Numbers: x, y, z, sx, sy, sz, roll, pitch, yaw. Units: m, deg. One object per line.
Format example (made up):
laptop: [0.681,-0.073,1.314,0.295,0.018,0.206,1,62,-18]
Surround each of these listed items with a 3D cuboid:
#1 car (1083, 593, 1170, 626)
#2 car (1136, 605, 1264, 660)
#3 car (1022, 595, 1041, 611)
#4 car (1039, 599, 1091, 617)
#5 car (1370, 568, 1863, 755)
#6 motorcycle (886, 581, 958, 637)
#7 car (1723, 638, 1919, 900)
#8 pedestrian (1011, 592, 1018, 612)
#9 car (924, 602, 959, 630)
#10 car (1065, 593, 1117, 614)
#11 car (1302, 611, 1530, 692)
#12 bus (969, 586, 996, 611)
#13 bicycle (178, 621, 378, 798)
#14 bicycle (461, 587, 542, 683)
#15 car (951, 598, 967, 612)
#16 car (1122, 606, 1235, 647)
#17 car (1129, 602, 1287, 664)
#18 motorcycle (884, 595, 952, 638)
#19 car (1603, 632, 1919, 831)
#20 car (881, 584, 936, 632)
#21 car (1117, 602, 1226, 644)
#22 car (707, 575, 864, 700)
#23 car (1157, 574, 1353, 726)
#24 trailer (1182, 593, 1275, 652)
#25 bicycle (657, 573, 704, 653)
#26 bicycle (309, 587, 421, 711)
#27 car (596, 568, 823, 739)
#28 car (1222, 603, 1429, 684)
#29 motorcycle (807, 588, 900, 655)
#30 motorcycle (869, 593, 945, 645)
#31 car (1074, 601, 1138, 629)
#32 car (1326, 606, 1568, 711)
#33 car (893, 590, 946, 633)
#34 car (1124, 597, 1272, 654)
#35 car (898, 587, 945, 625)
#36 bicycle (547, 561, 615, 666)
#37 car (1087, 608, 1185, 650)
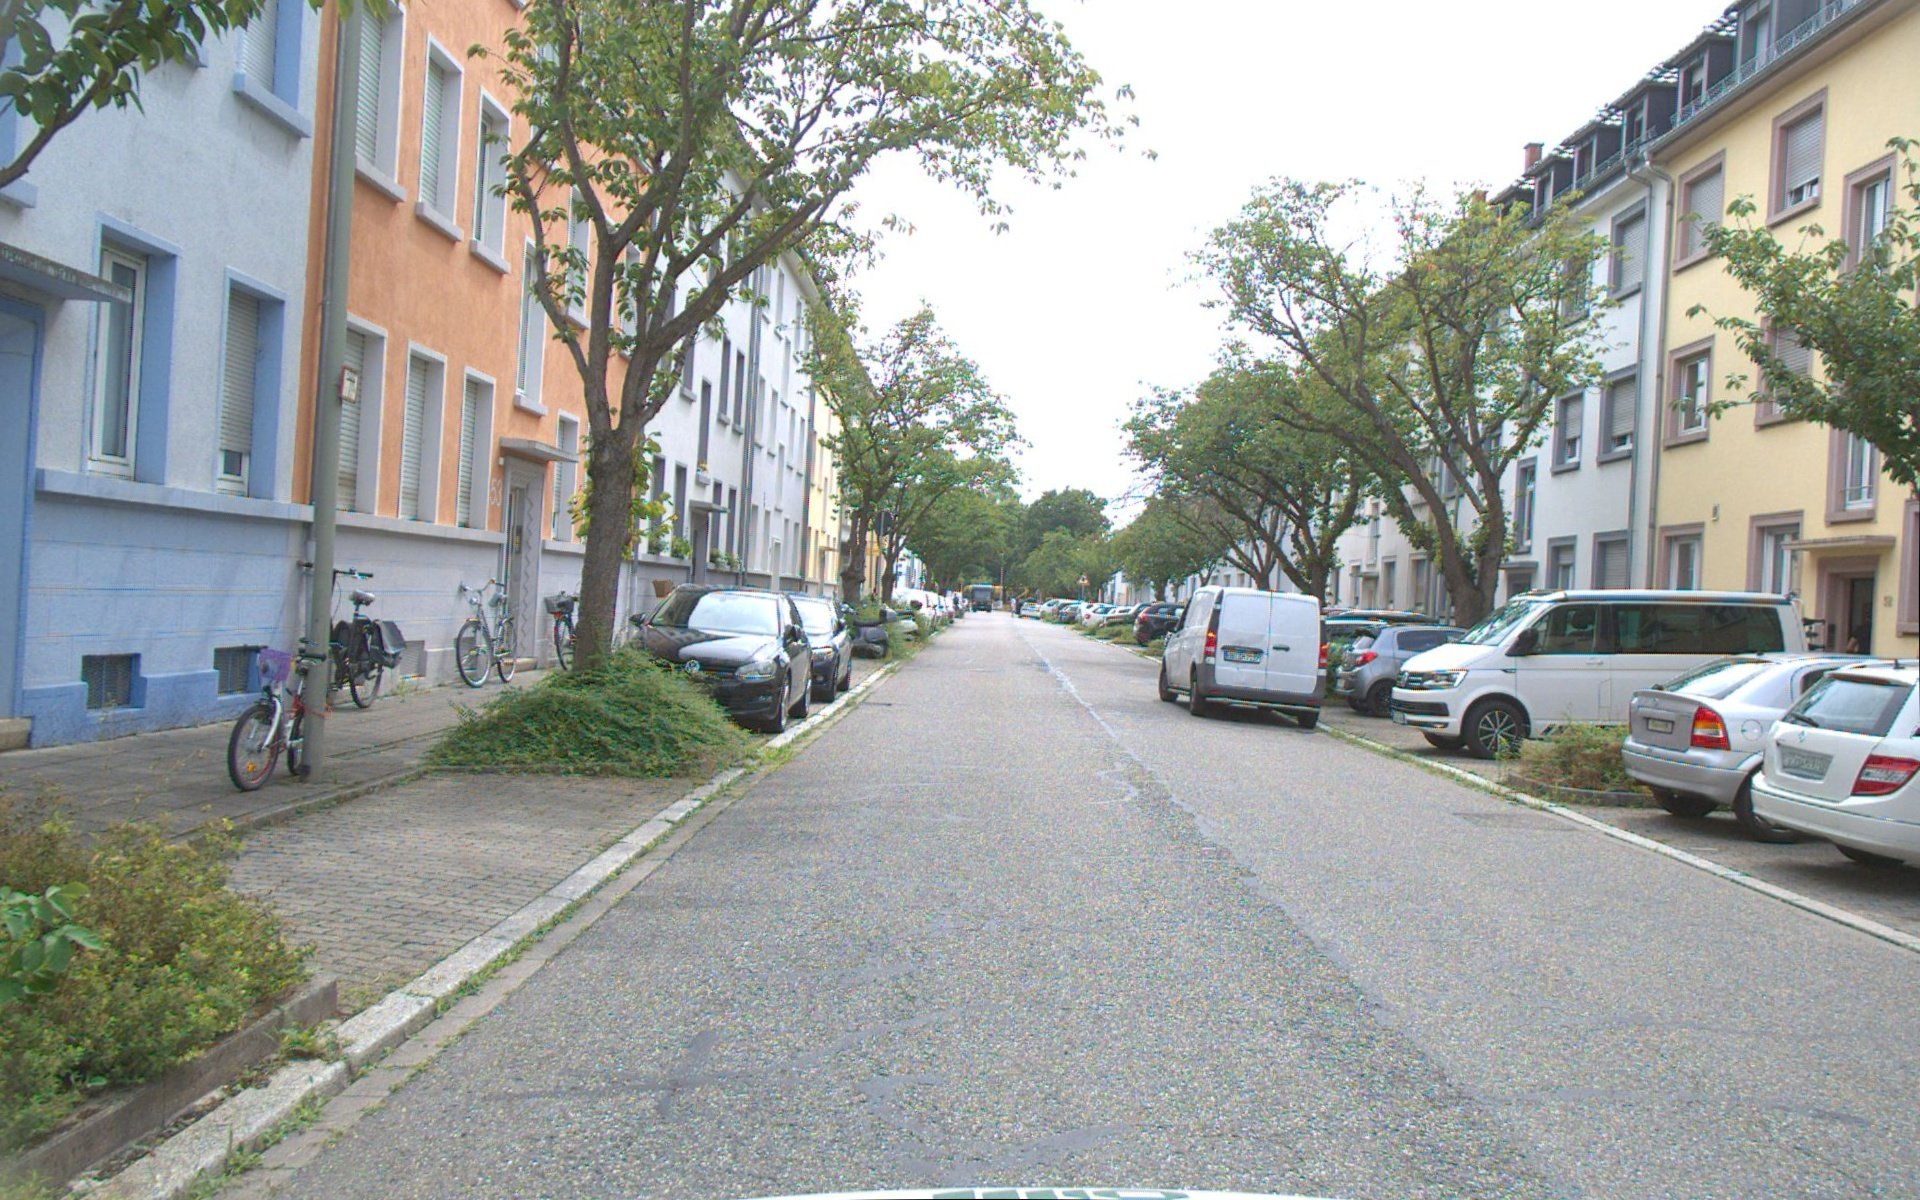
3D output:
car: [8.846,0.511,88.116,4.519,1.693,1.893,1,0,2]
car: [8.140,1.087,56.361,4.126,1.766,1.904,1,0,3]
car: [6.466,0.284,149.814,1.652,1.378,3.827,1,0,2]
car: [10.006,0.763,157.981,4.873,1.545,1.768,1,0,-1]
car: [7.775,0.709,19.916,5.125,2.058,2.072,1,0,-3]
motorcycle: [-1.246,0.275,54.145,0.931,1.705,2.436,3,0,-42]
car: [7.690,1.075,10.926,4.454,1.536,1.850,1,0,-1]
pedestrian: [4.916,0.194,149.293,0.511,1.734,0.445,1,-1,4]
car: [-1.046,0.878,94.129,1.838,1.512,4.512,1,0,1]
car: [9.356,0.268,118.366,3.670,1.389,1.773,1,0,2]
car: [8.672,0.969,31.634,3.905,1.445,1.638,1,0,0]
bus: [2.521,-0.164,189.705,2.942,2.809,8.923,1,0,0]
bicycle: [-3.920,0.596,9.614,0.405,0.887,1.538,7,0,1]
bicycle: [-5.178,0.382,18.771,0.359,1.023,1.868,1,0,1]
car: [-0.086,0.543,188.848,1.587,1.529,4.001,1,0,2]
car: [8.092,0.971,61.391,3.906,1.435,1.767,1,0,-2]
car: [6.920,0.914,46.517,4.129,1.626,1.903,1,0,-1]
motorcycle: [-1.213,0.467,47.755,1.882,1.212,0.592,1,-1,-26]
car: [7.577,1.029,13.395,4.009,1.439,1.850,1,0,-1]
car: [-1.797,0.278,58.940,1.721,1.583,4.256,2,0,1]
car: [8.072,0.874,63.427,3.906,1.557,1.767,1,0,-2]
car: [-2.464,0.512,24.307,1.800,1.509,4.120,6,0,-1]
car: [4.372,0.701,25.253,1.953,1.948,4.703,5,0,-1]
trailer: [8.773,0.724,54.175,2.898,1.863,1.401,1,0,4]
bicycle: [-4.925,0.226,29.189,0.420,1.357,1.812,1,0,2]
bicycle: [-5.180,0.406,14.483,0.359,1.013,1.570,2,0,1]
car: [-2.586,0.525,18.027,1.799,1.509,4.092,4,0,-1]
car: [7.510,0.881,34.227,3.905,1.563,1.638,1,0,0]
motorcycle: [-2.368,0.476,36.625,1.975,1.432,0.790,1,-1,-11]
motorcycle: [-1.565,0.567,49.159,2.204,1.507,0.592,1,-1,-26]
car: [9.018,0.926,102.305,3.842,1.661,1.868,1,0,2]
car: [7.891,0.926,27.029,3.407,1.601,1.814,1,0,0]
car: [-1.563,0.452,64.980,1.754,1.518,4.812,4,-1,1]
car: [7.102,0.758,49.616,4.129,1.626,1.903,1,0,-1]
car: [-1.682,0.288,73.494,1.879,1.609,4.383,1,0,1]
bicycle: [-5.140,0.179,22.527,0.420,1.357,1.812,1,0,2]
car: [8.139,1.338,76.937,4.430,1.890,1.793,1,0,3]
